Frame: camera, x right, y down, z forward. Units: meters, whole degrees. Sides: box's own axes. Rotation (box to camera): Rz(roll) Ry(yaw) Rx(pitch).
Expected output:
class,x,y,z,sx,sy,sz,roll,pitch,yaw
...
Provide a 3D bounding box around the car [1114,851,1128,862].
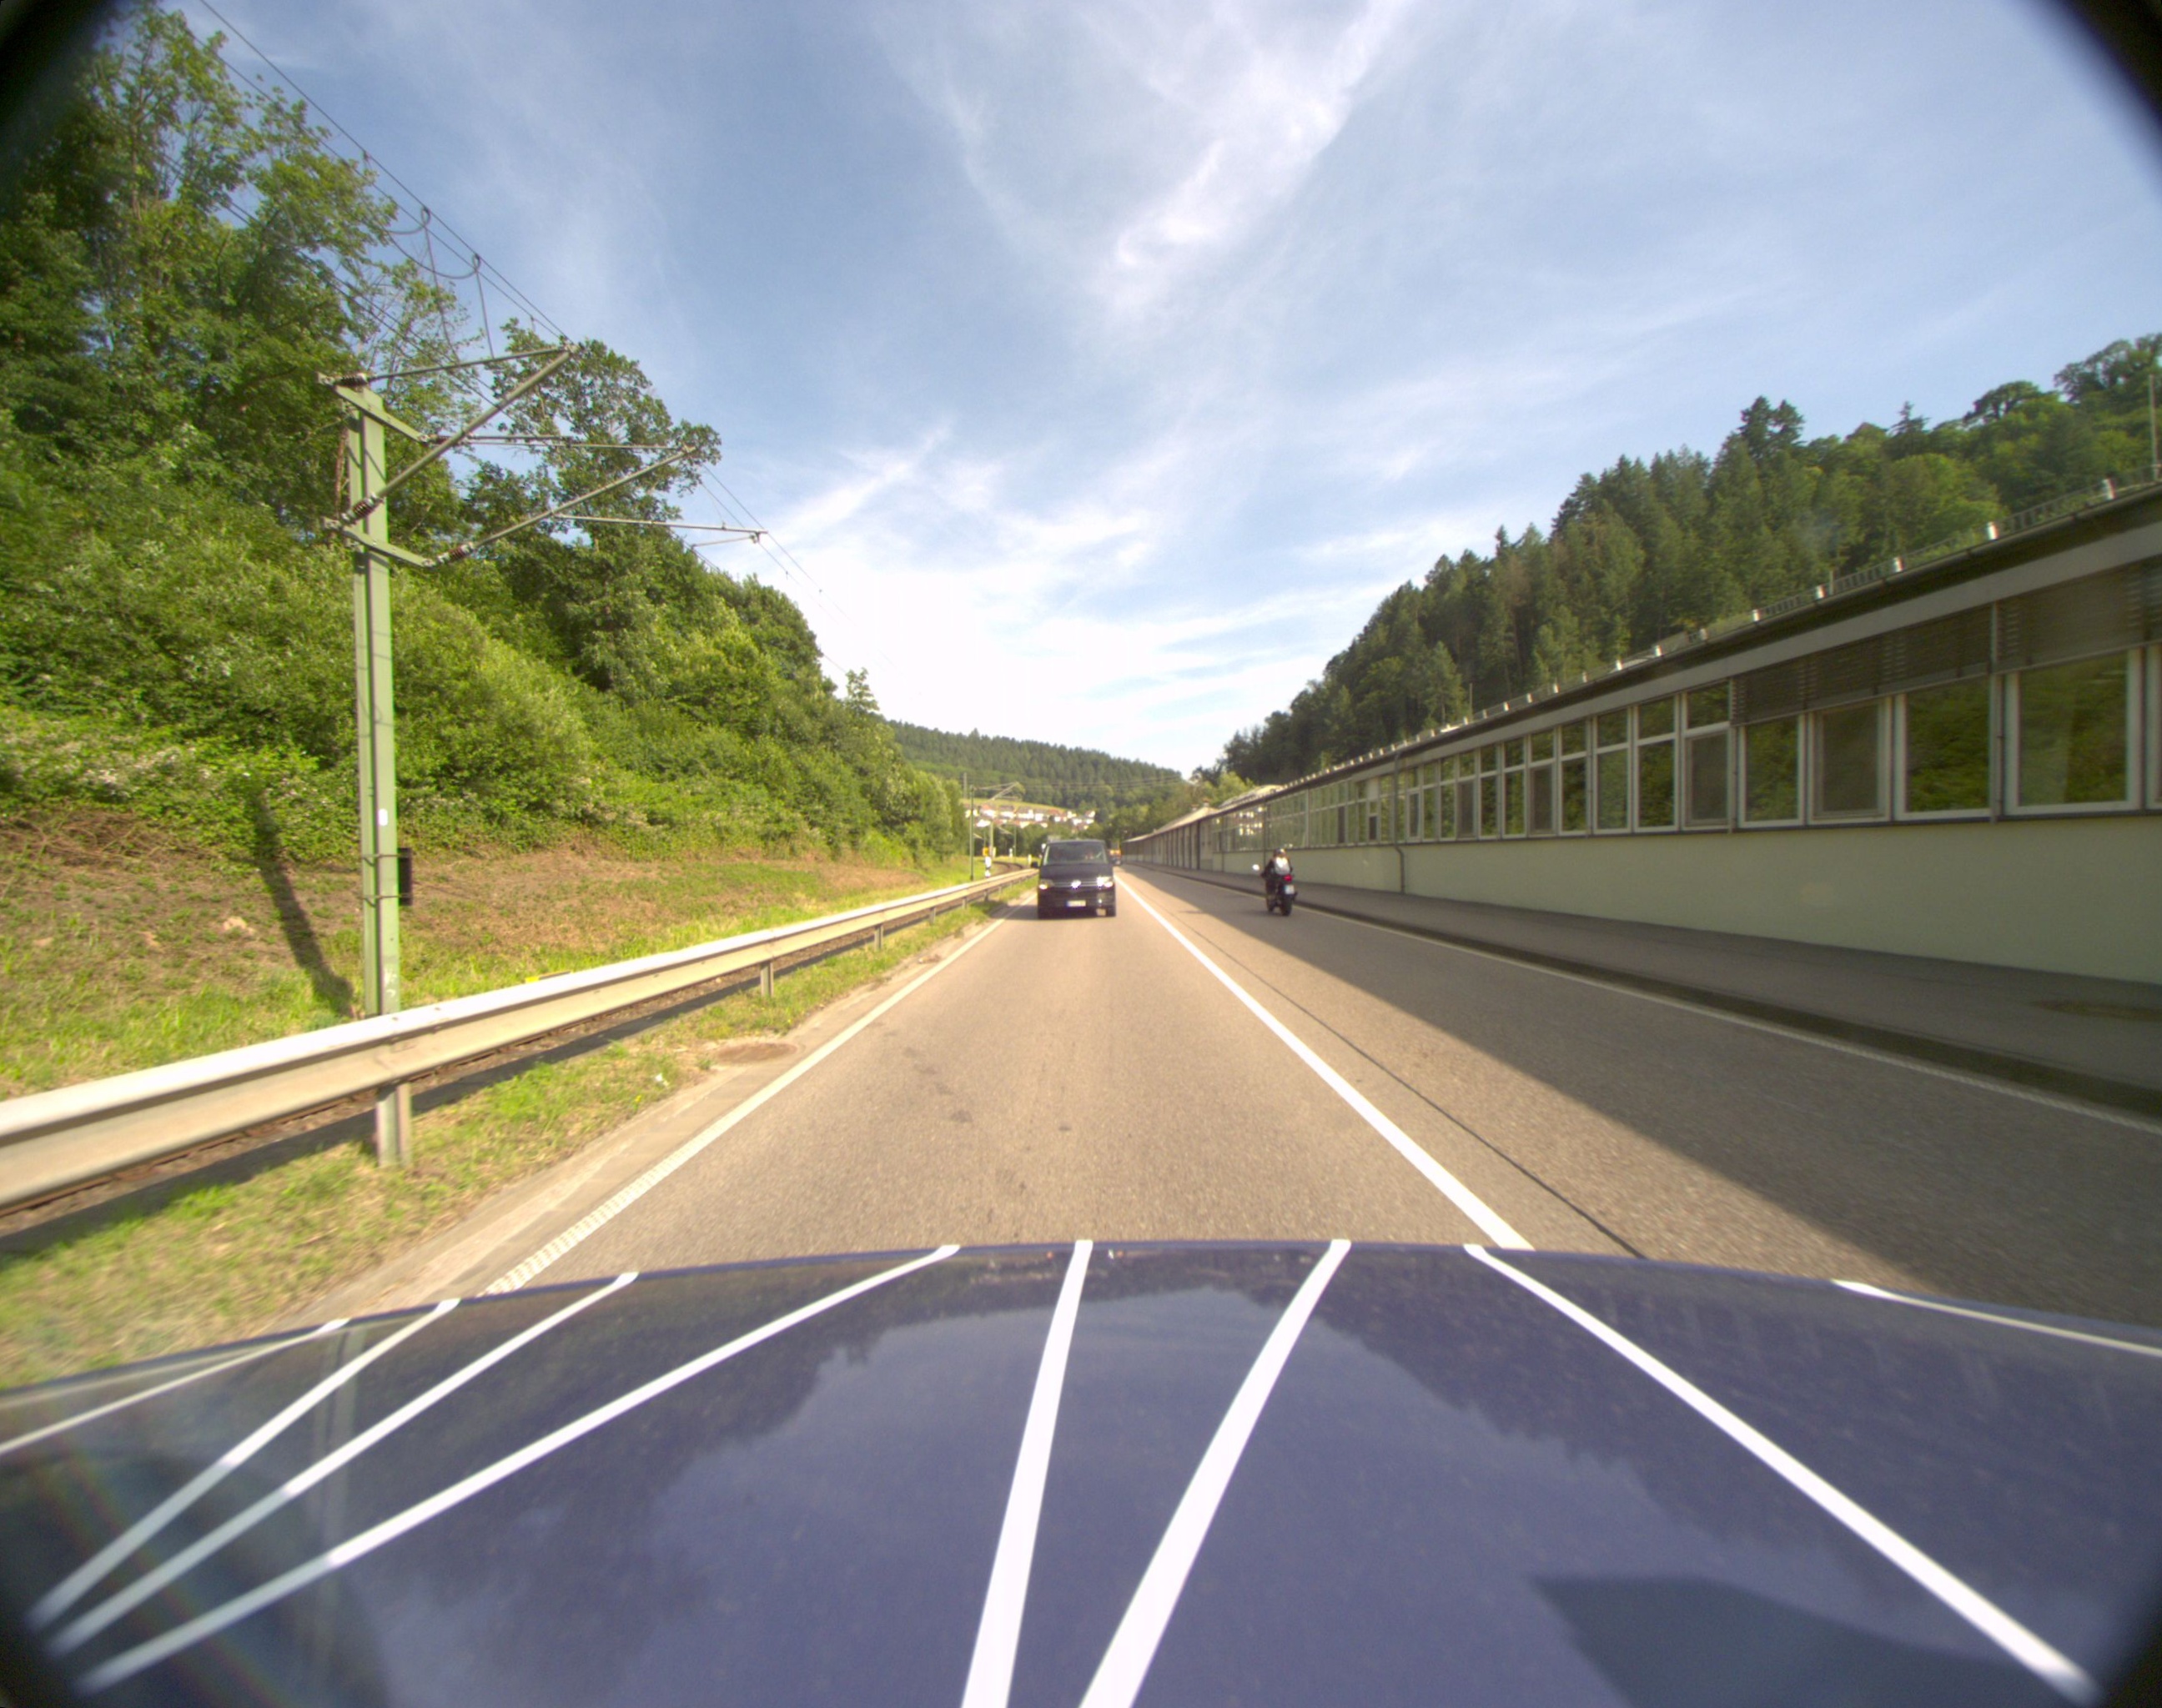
class,x,y,z,sx,sy,sz,roll,pitch,yaw
car,5.557,0.304,105.919,1.778,1.482,4.051,-2,0,1

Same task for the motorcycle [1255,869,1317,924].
class,x,y,z,sx,sy,sz,roll,pitch,yaw
motorcycle,4.608,0.924,17.252,0.743,1.062,2.492,-1,0,1

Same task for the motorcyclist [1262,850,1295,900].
class,x,y,z,sx,sy,sz,roll,pitch,yaw
motorcyclist,4.553,0.480,17.509,0.587,1.118,0.636,-1,1,1

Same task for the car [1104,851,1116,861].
class,x,y,z,sx,sy,sz,roll,pitch,yaw
car,4.625,0.247,122.169,1.723,1.505,4.198,-2,0,1

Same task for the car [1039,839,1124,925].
class,x,y,z,sx,sy,sz,roll,pitch,yaw
car,-0.093,0.633,20.028,1.901,1.927,5.187,-2,0,-2
